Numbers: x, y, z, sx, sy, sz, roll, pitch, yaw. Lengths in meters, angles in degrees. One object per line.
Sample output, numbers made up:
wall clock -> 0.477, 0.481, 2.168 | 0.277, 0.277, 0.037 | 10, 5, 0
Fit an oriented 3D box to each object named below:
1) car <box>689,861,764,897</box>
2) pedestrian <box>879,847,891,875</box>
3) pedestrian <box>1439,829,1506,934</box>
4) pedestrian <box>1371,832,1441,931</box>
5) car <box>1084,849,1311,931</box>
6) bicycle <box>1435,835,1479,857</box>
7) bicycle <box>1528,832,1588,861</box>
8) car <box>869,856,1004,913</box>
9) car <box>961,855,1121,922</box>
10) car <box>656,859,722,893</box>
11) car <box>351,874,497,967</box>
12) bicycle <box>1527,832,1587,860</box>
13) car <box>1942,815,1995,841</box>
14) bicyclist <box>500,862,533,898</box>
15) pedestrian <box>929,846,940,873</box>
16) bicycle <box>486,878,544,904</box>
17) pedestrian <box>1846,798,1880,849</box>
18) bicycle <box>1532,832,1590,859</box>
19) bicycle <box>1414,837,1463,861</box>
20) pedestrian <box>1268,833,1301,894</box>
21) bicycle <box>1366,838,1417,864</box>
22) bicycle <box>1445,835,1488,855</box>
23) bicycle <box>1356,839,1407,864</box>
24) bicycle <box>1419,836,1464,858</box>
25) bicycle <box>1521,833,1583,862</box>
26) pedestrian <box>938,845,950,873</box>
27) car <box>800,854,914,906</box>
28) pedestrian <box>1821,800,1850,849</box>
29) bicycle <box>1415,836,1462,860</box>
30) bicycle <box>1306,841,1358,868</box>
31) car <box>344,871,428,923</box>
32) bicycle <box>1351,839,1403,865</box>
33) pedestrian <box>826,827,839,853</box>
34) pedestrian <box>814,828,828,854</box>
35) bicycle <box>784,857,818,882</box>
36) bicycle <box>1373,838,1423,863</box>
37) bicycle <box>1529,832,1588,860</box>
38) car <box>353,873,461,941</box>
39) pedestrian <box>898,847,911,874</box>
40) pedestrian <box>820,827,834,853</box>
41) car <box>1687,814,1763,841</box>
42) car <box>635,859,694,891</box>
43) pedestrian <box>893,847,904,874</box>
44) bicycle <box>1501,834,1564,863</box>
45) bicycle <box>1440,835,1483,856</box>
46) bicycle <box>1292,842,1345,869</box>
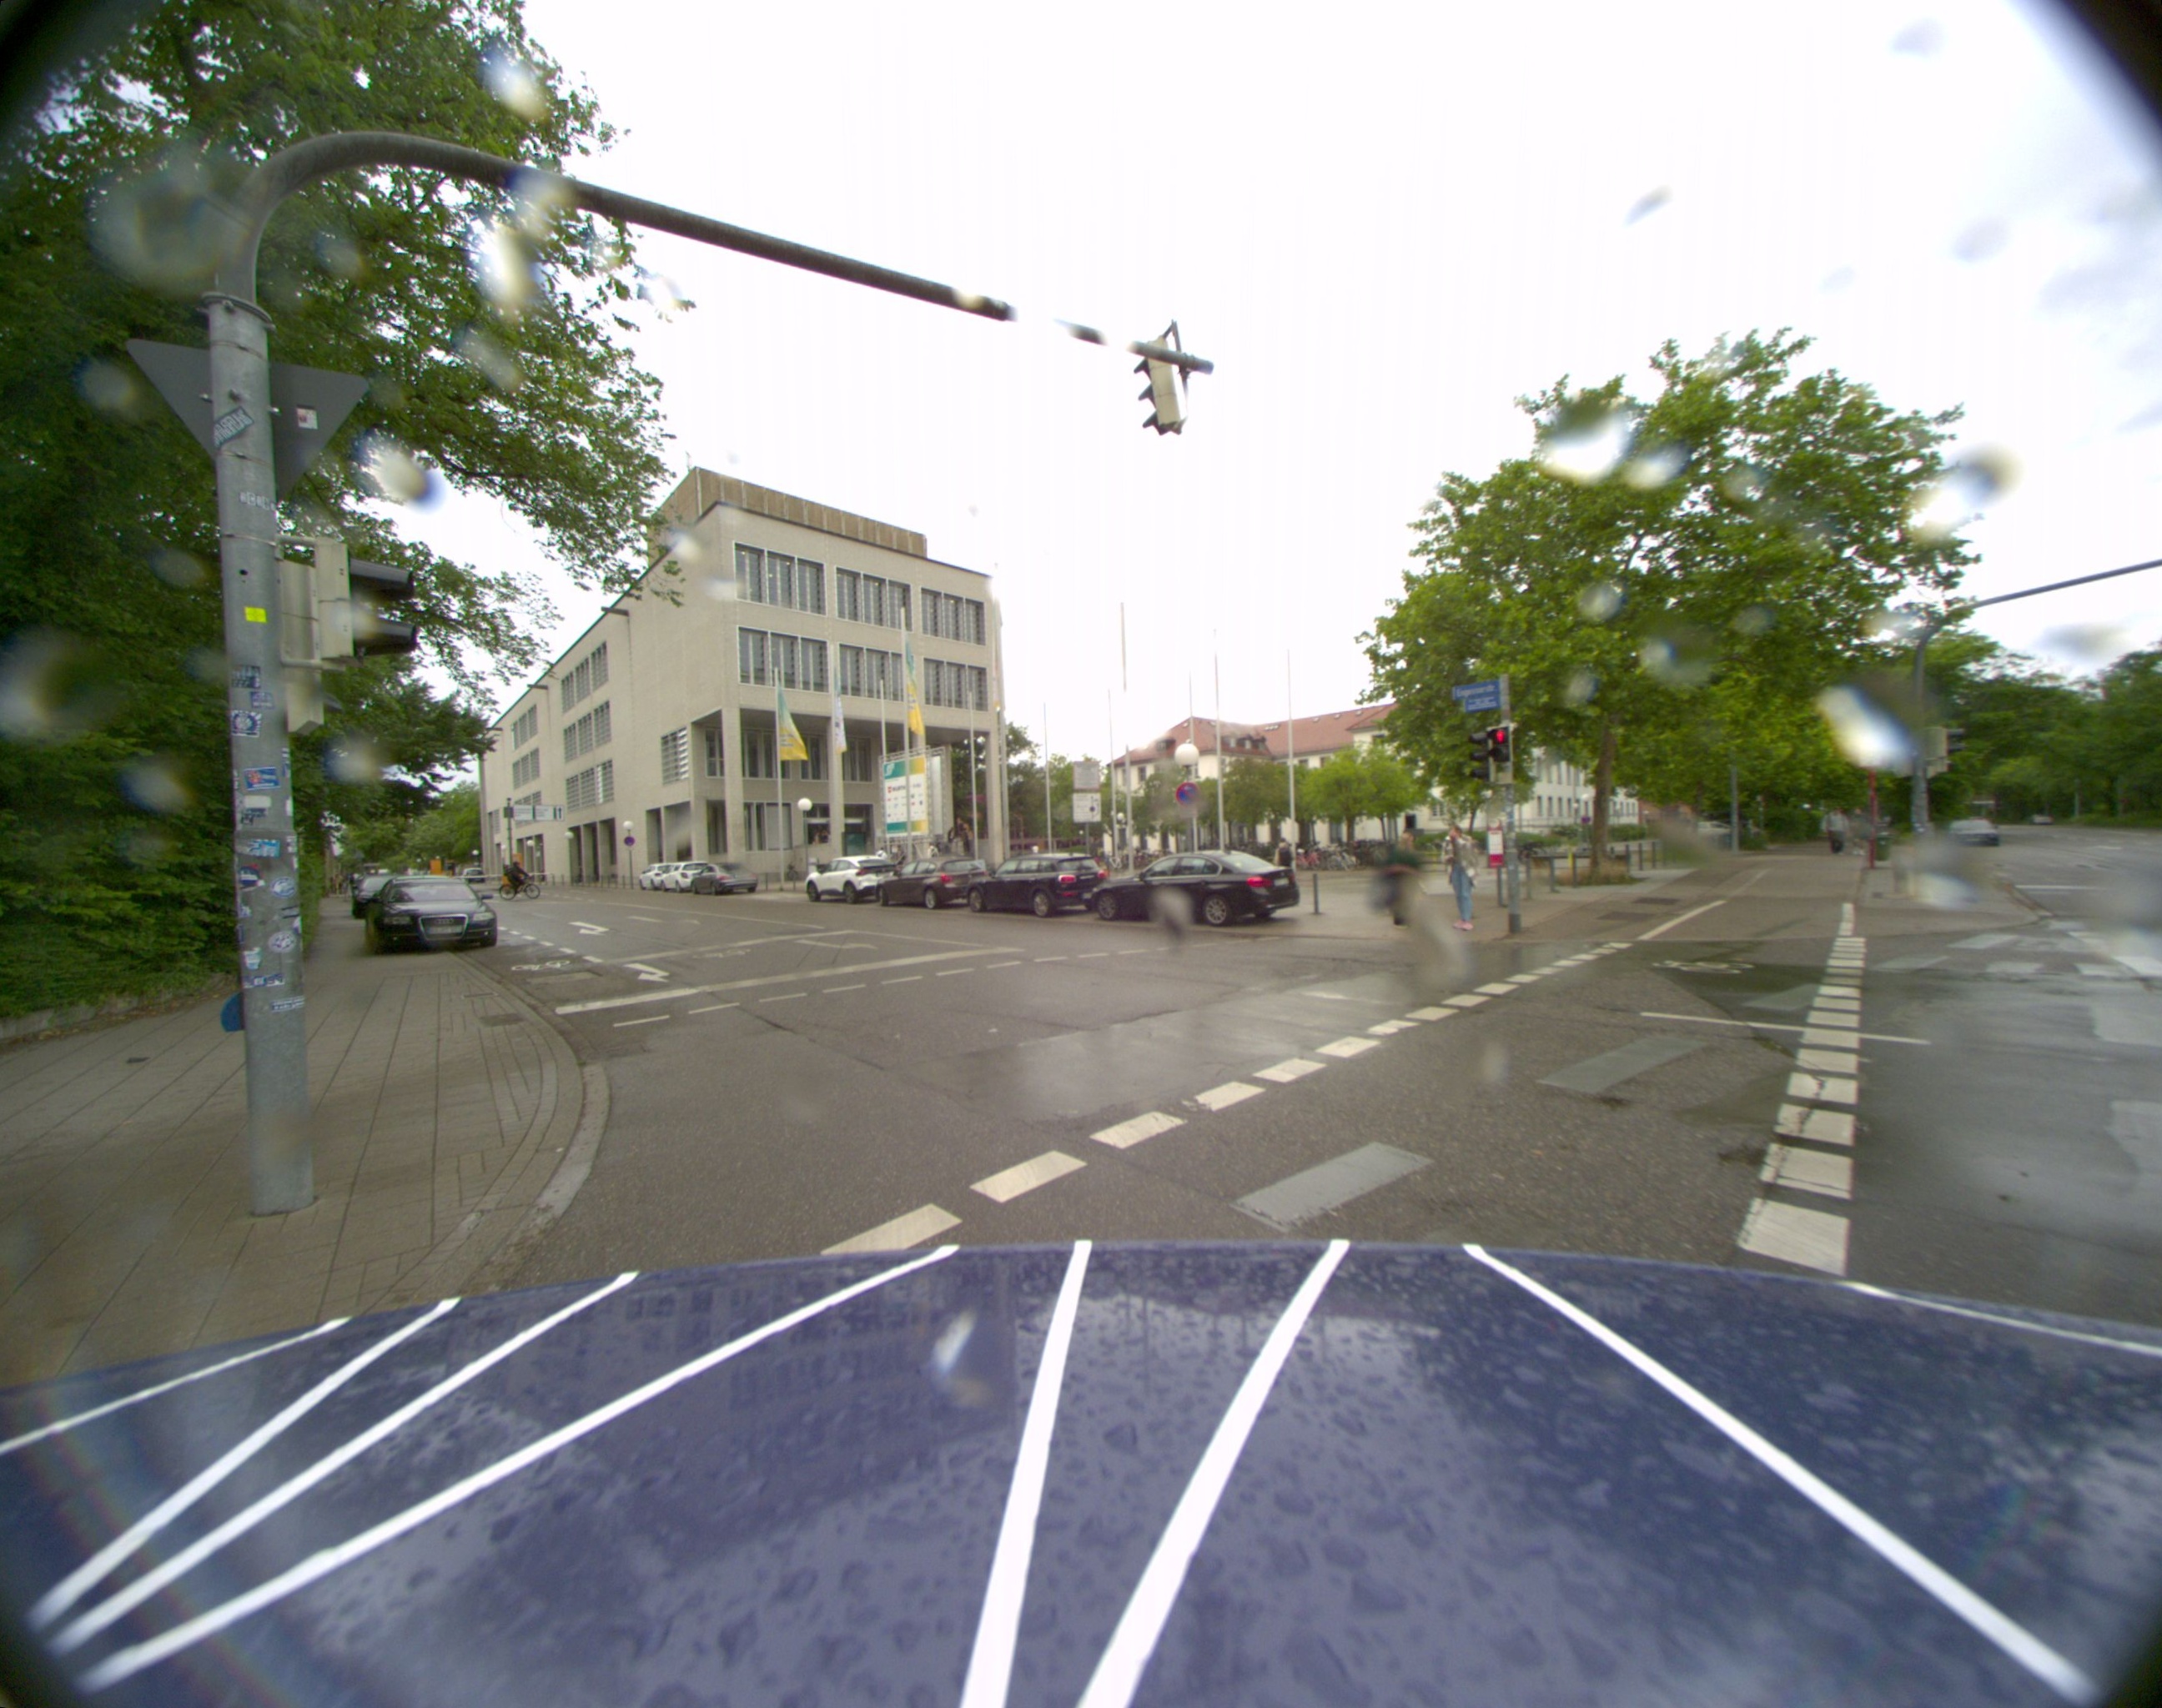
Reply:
car -> -16.098, 1.104, 34.442 | 1.776, 1.394, 4.089 | -7, 3, -43
pedestrian -> -10.769, 0.401, 41.779 | 0.544, 1.507, 0.565 | -3, 1, -21
pedestrian -> 6.256, 0.422, 12.156 | 0.875, 1.598, 0.865 | -2, 1, 27
pedestrian -> 5.446, 0.447, 12.799 | 0.876, 1.598, 0.864 | -2, 1, 11
car -> 2.286, 0.689, 15.745 | 1.776, 1.330, 4.378 | -7, 3, -44
bicycle -> 22.718, -0.491, 45.976 | 2.280, 1.215, 0.600 | -2, 1, 37
bicycle -> 21.710, -0.325, 34.607 | 2.280, 1.215, 0.600 | -2, 1, 37
car -> -4.363, 0.878, 22.555 | 1.776, 1.391, 4.225 | -7, 3, -44
car -> -1.083, 0.806, 19.059 | 1.776, 1.371, 4.005 | -6, 3, -42
car -> -19.860, 1.095, 38.443 | 1.776, 1.509, 4.089 | -7, 3, -43
car -> -13.758, 1.264, 15.840 | 4.088, 1.509, 1.776 | 0, 3, 43
bicycle -> 22.072, -0.346, 35.233 | 2.280, 1.215, 0.600 | -2, 1, 37
car -> 47.473, -1.388, 40.693 | 4.114, 1.259, 1.657 | -3, 1, -43
bicyclist -> -26.542, 1.211, 35.750 | 0.891, 1.615, 0.802 | -2, 1, -8
pedestrian -> -8.182, 0.295, 42.434 | 0.470, 1.507, 0.565 | -3, 1, -21
bicycle -> -26.592, 1.711, 35.754 | 1.998, 1.090, 0.802 | -2, 1, -8
pedestrian -> 28.837, -1.121, 28.037 | 0.623, 1.814, 0.788 | -2, 1, 27
bicycle -> 23.021, -0.396, 36.476 | 2.280, 1.215, 0.600 | -2, 1, 37
bicycle -> 19.316, -0.284, 41.056 | 2.280, 1.215, 0.600 | -2, 1, 37
pedestrian -> 6.073, 0.270, 22.683 | 0.848, 1.728, 1.124 | -2, 1, 17
bicycle -> 15.924, -0.152, 38.979 | 2.280, 1.215, 0.600 | -2, 1, 37
bicycle -> 24.098, -0.562, 47.556 | 2.280, 1.215, 0.600 | -2, 1, 37
bicycle -> 15.170, -0.117, 38.439 | 2.280, 1.215, 0.600 | -2, 1, 37
bicycle -> 21.343, -0.427, 44.977 | 2.280, 1.215, 0.600 | -2, 1, 37
bicycle -> 21.014, -0.291, 33.907 | 2.280, 1.215, 0.600 | -2, 1, 37
pedestrian -> -7.701, 0.273, 42.688 | 0.470, 1.507, 0.565 | -3, 1, -21
car -> -7.698, 0.877, 25.921 | 4.089, 1.509, 1.776 | -2, 3, 44
pedestrian -> 28.270, -1.104, 28.486 | 0.623, 1.814, 0.788 | -1, 1, 35
bicycle -> 20.001, -0.327, 42.583 | 2.280, 1.215, 0.600 | -2, 1, 37
bicycle -> 12.046, 0.025, 36.496 | 2.280, 1.215, 0.600 | -2, 1, 37
car -> -24.412, 1.440, 26.649 | 4.088, 1.509, 1.776 | 0, 3, 43
bicycle -> 14.613, -0.085, 37.570 | 2.280, 1.215, 0.600 | -2, 1, 37
pedestrian -> -14.803, -0.818, 45.307 | 0.566, 1.507, 0.543 | -2, 1, -1
pedestrian -> -15.554, -0.792, 45.511 | 0.566, 1.507, 0.543 | -2, 1, 7
bicycle -> -15.792, 0.869, 42.813 | 0.925, 1.322, 2.962 | -3, 1, -38
bicycle -> 16.493, -0.180, 39.555 | 2.280, 1.215, 0.600 | -2, 1, 37
bicycle -> 22.553, -0.372, 35.899 | 2.280, 1.215, 0.600 | -2, 1, 37
car -> -18.788, 1.382, 21.117 | 4.088, 1.509, 1.776 | 0, 3, 43
pedestrian -> -9.773, 0.360, 42.020 | 0.544, 1.507, 0.565 | -3, 1, -21
pedestrian -> -14.890, -0.807, 44.557 | 0.566, 1.507, 0.543 | -2, 1, -3
car -> 49.706, -2.024, 58.701 | 4.414, 1.862, 1.641 | -2, 1, 41
car -> -23.074, 1.148, 42.031 | 1.776, 1.509, 4.089 | -7, 3, -43
pedestrian -> -10.328, 0.370, 43.027 | 0.470, 1.507, 0.565 | -3, 1, -21
bicycle -> 19.637, -0.228, 33.041 | 2.280, 1.215, 0.600 | -2, 1, 37
bicycle -> 23.406, -0.526, 46.720 | 2.280, 1.215, 0.600 | -2, 1, 37
bicycle -> 11.278, 0.060, 36.074 | 2.280, 1.215, 0.600 | -2, 1, 37
